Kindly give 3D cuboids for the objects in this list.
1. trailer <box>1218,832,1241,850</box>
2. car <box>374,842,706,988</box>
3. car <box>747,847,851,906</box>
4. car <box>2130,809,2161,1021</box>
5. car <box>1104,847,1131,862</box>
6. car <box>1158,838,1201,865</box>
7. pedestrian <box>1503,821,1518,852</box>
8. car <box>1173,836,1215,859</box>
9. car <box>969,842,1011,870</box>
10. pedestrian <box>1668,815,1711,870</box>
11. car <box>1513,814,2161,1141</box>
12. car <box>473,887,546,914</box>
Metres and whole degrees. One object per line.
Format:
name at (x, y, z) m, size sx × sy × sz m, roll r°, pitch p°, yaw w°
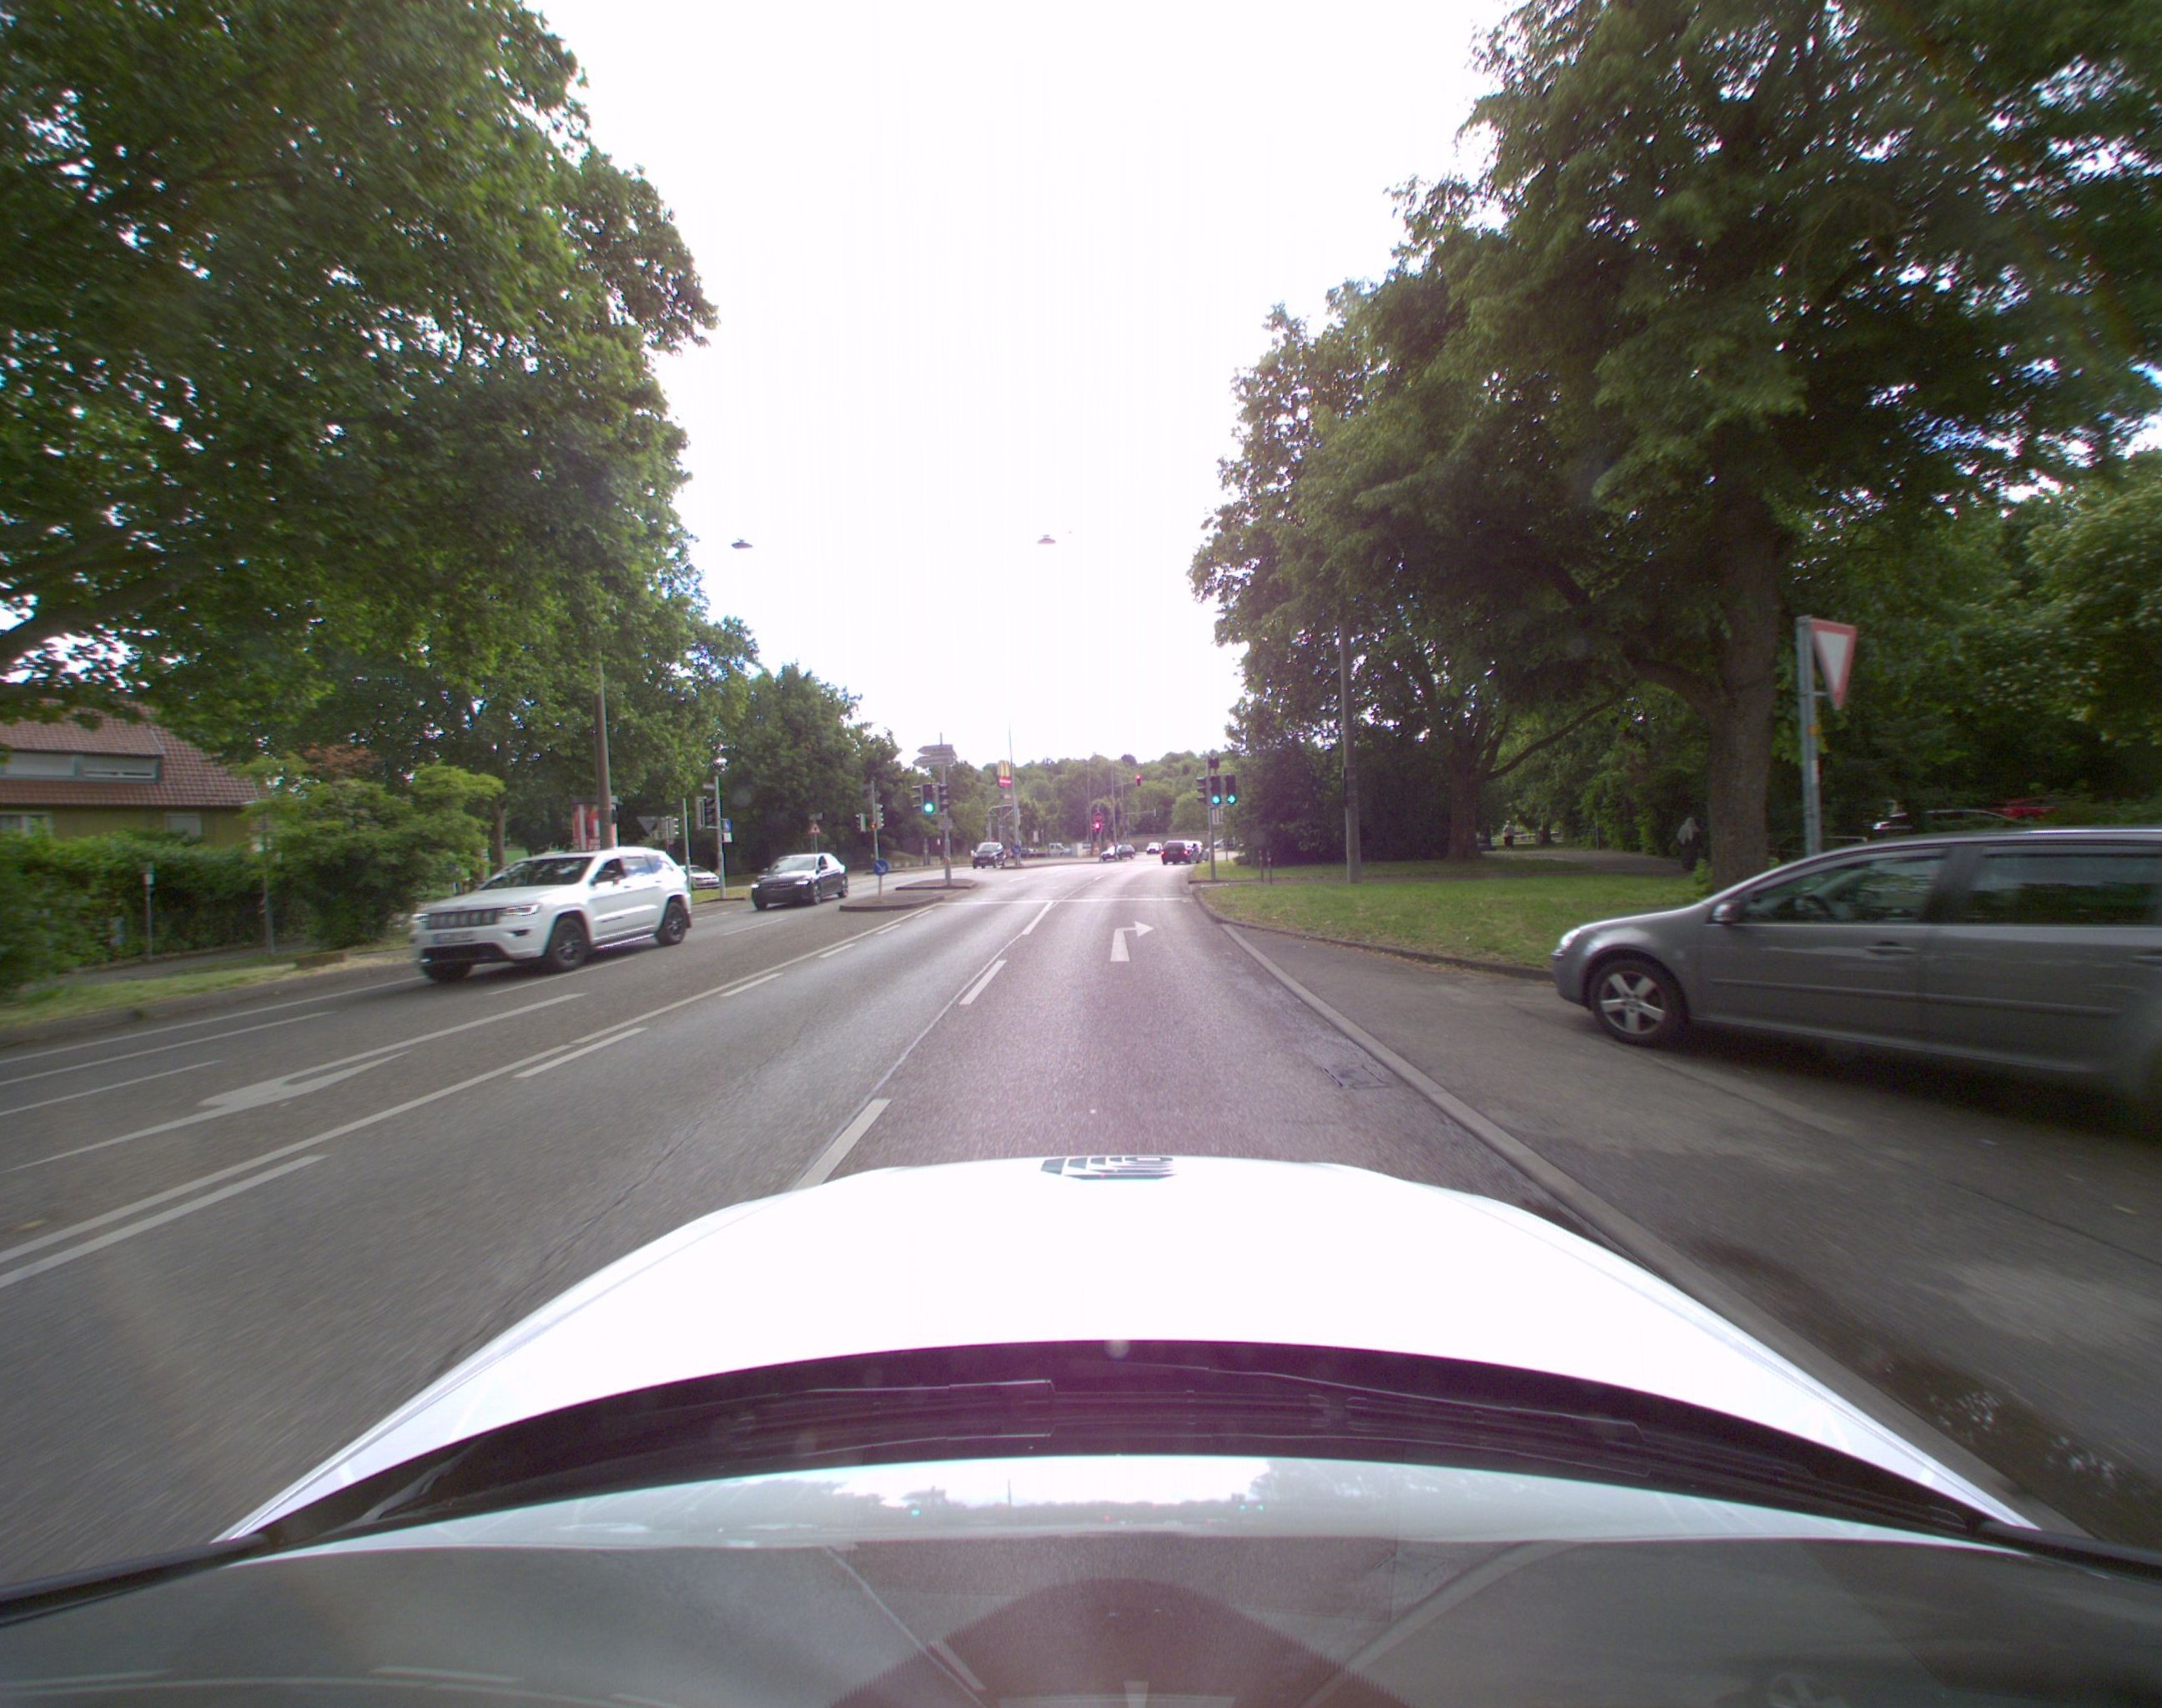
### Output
trailer at (23.138, -1.951, 126.716) m, size 2.331 × 2.582 × 4.947 m, roll -4°, pitch -1°, yaw 22°
car at (-8.125, 0.755, 12.963) m, size 1.904 × 1.763 × 4.753 m, roll -4°, pitch 1°, yaw 1°
car at (-8.084, 0.585, 23.713) m, size 1.563 × 1.382 × 3.950 m, roll -4°, pitch 2°, yaw 0°
car at (8.864, 0.332, 5.688) m, size 4.283 × 1.380 × 1.744 m, roll -3°, pitch 0°, yaw -39°
car at (3.715, -0.002, 82.356) m, size 1.664 × 1.366 × 4.331 m, roll -2°, pitch 0°, yaw 17°
car at (6.288, -0.185, 51.471) m, size 1.808 × 1.509 × 4.595 m, roll -3°, pitch 0°, yaw 17°
pedestrian at (21.947, -0.905, 41.603) m, size 0.506 × 1.531 × 0.781 m, roll -3°, pitch 0°, yaw 17°
car at (8.115, -0.489, 58.164) m, size 1.711 × 1.530 × 4.173 m, roll -3°, pitch 0°, yaw 25°
car at (-5.595, 0.107, 50.417) m, size 1.558 × 1.527 × 3.200 m, roll -3°, pitch 1°, yaw 12°
pedestrian at (17.599, -0.330, 23.568) m, size 0.680 × 1.551 × 0.744 m, roll -3°, pitch 0°, yaw 7°
car at (5.090, 0.523, 4.963) m, size 1.737 × 1.429 × 4.076 m, roll -3°, pitch 1°, yaw -27°
car at (-36.069, 2.919, 51.416) m, size 4.216 × 1.546 × 2.012 m, roll -2°, pitch 0°, yaw 28°
